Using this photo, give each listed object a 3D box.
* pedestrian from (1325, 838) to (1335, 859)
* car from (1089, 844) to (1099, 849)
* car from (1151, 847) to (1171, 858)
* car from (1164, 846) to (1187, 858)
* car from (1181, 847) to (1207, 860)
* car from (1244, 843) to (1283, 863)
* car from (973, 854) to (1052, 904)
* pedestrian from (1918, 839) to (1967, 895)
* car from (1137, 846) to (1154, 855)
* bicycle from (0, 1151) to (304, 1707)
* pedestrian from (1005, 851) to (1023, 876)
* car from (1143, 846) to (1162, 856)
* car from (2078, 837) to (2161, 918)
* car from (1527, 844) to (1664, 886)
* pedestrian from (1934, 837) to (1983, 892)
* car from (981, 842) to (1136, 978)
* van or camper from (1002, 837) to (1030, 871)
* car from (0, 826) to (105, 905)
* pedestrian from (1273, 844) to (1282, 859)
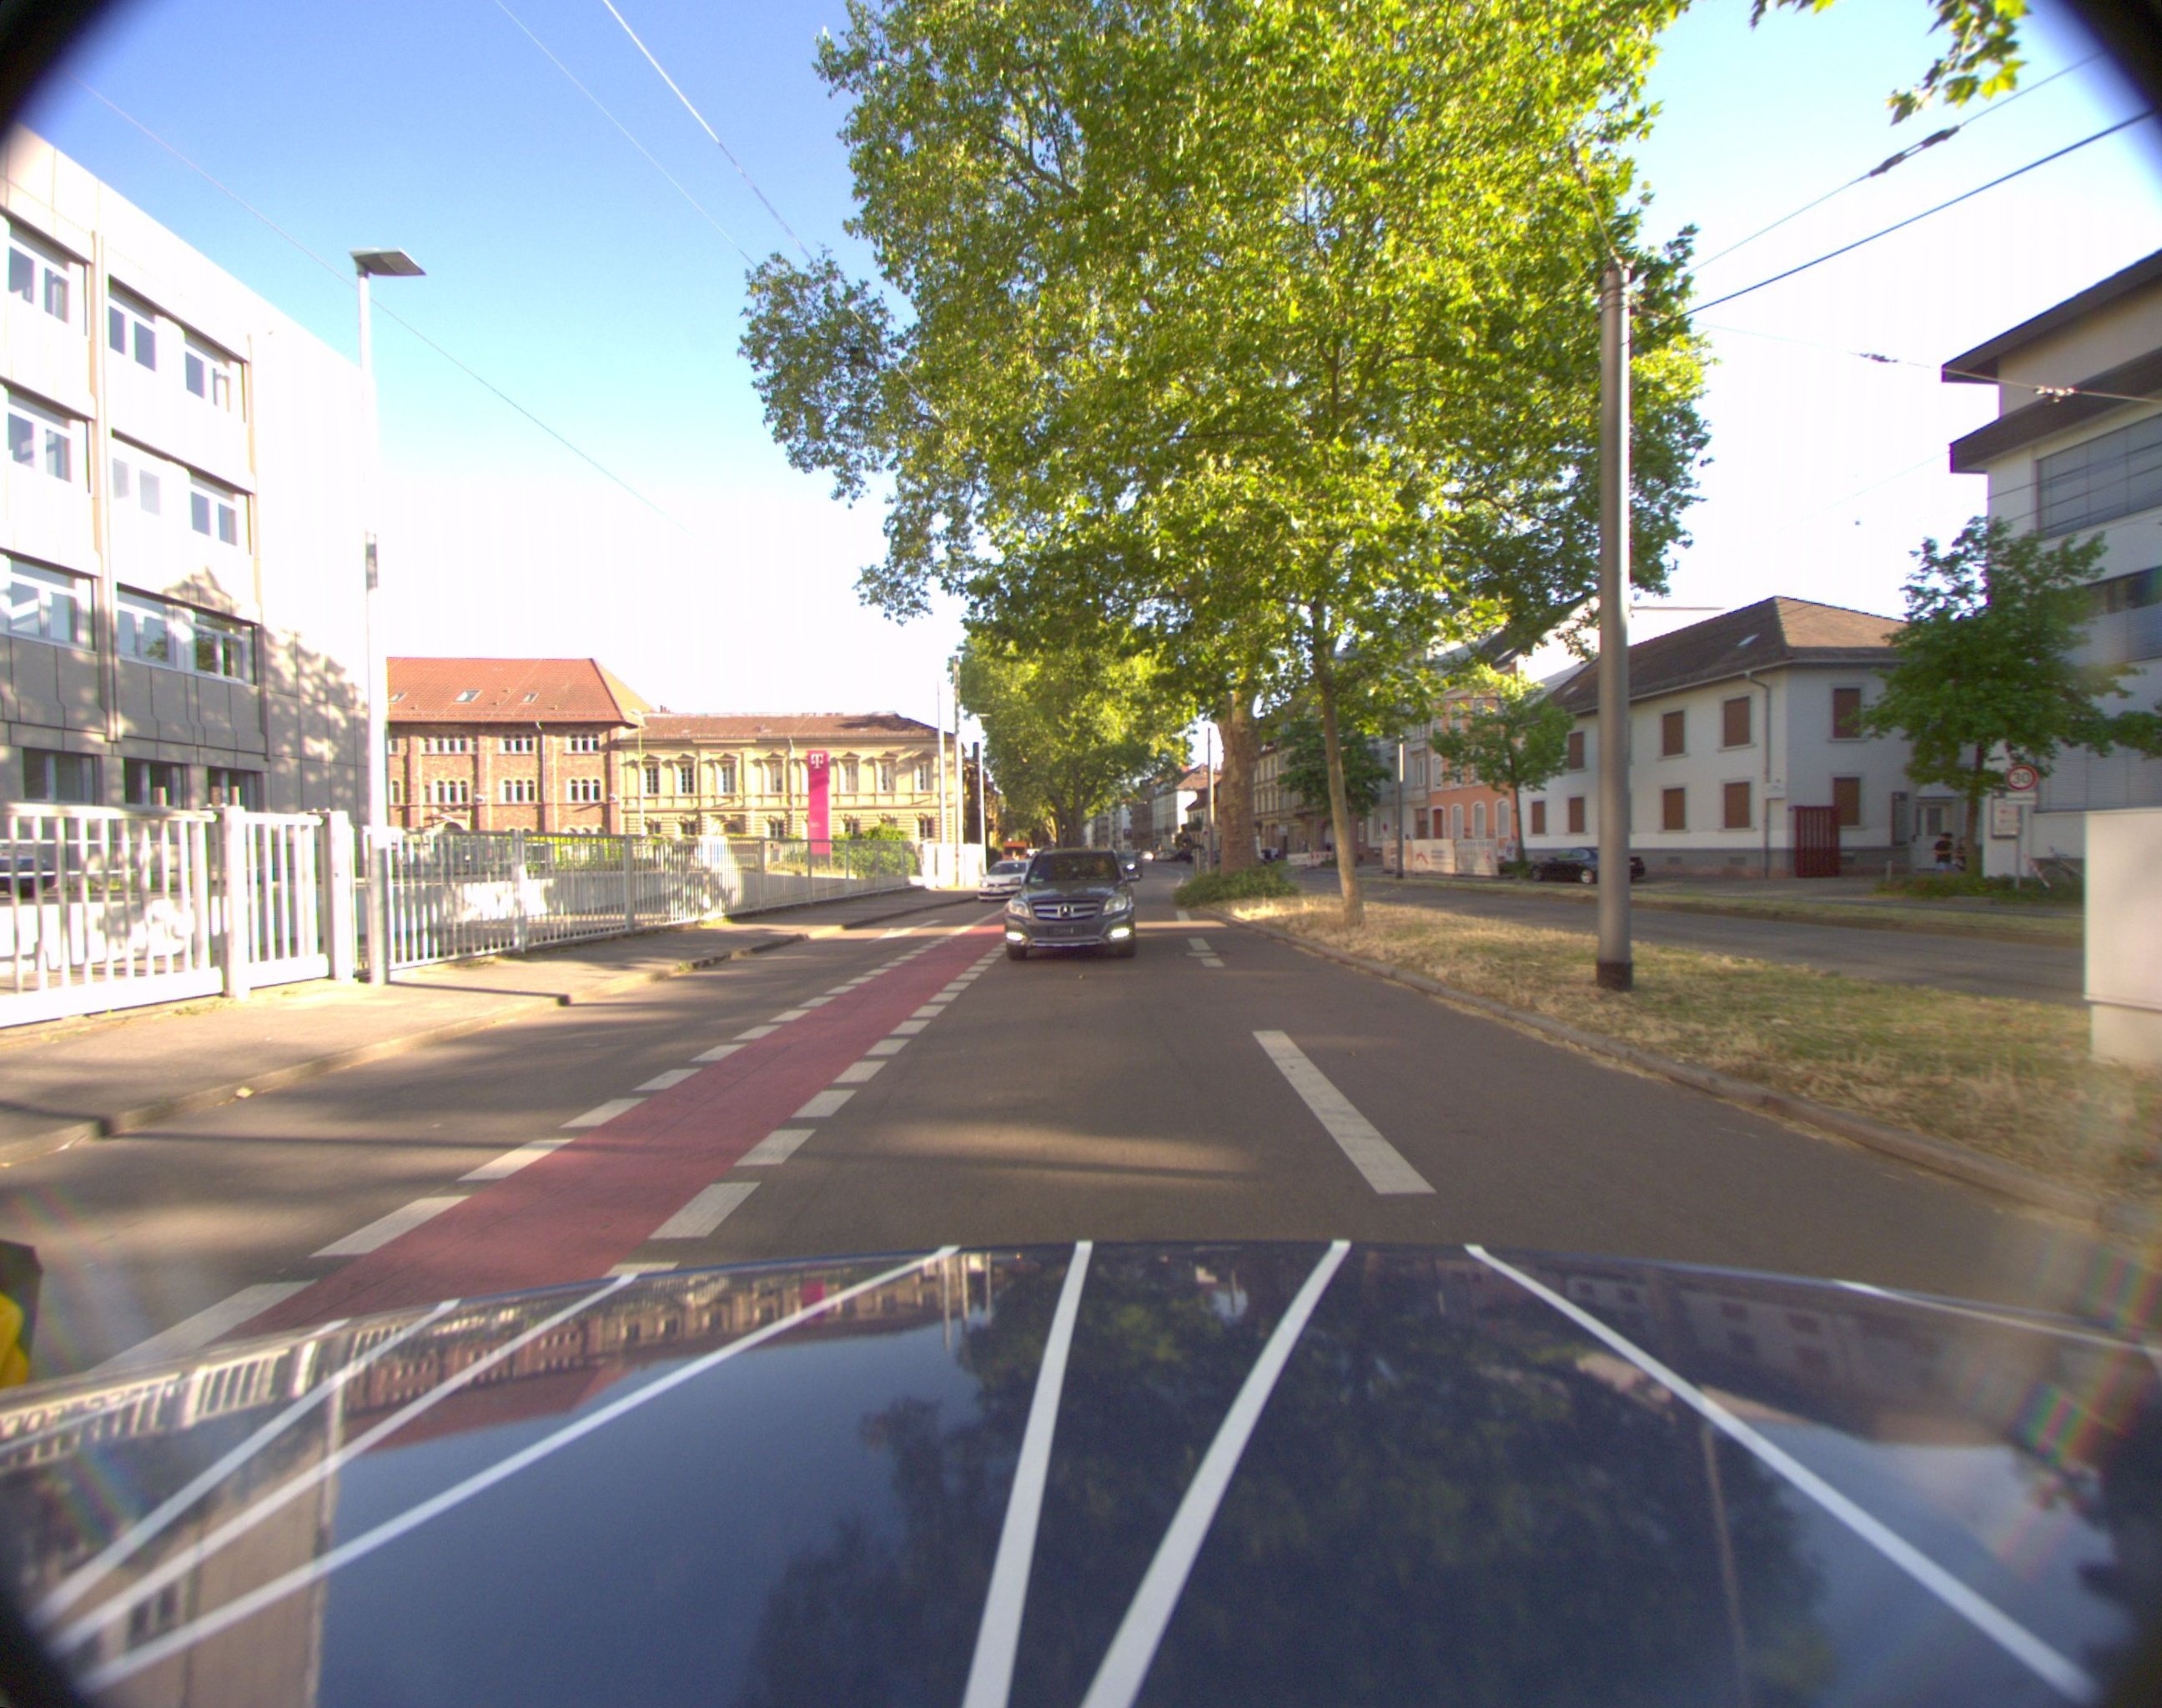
[{"bbox_3d":[21.352,-0.494,65.270,0.562,1.798,0.704,-1,1,-8],"label":"pedestrian"},{"bbox_3d":[3.743,-2.146,220.530,2.088,1.531,4.124,-4,1,-7],"label":"car"},{"bbox_3d":[12.264,-0.227,116.723,2.088,1.531,4.036,-4,1,-7],"label":"car"},{"bbox_3d":[13.356,-0.243,107.834,2.088,1.531,5.101,-4,1,-7],"label":"car"},{"bbox_3d":[14.052,-0.097,94.753,2.088,1.531,4.513,-4,1,-7],"label":"car"},{"bbox_3d":[17.280,-0.124,72.116,2.088,1.664,4.529,-4,1,-7],"label":"car"},{"bbox_3d":[-2.420,0.857,28.022,1.792,1.494,4.303,-3,1,9],"label":"car"},{"bbox_3d":[23.811,0.360,21.013,0.537,1.519,0.711,-1,1,-11],"label":"pedestrian"},{"bbox_3d":[11.213,-0.627,132.552,2.088,1.531,4.253,-4,1,-7],"label":"car"},{"bbox_3d":[-2.018,1.190,0.410,0.764,1.138,2.306,-1,1,1],"label":"bicycle"},{"bbox_3d":[-4.076,0.579,46.475,0.898,1.464,0.811,-1,1,10],"label":"pedestrian"},{"bbox_3d":[11.489,-0.482,122.642,2.088,1.531,4.095,-4,1,-7],"label":"car"},{"bbox_3d":[22.384,0.459,14.213,2.088,1.481,3.994,-4,1,-7],"label":"car"},{"bbox_3d":[20.712,0.397,30.855,2.088,1.462,4.576,-4,1,-7],"label":"car"},{"bbox_3d":[24.729,0.298,21.418,0.537,1.519,0.711,-1,1,-5],"label":"pedestrian"},{"bbox_3d":[-0.136,0.704,12.112,1.908,1.635,4.517,-3,1,4],"label":"car"},{"bbox_3d":[-5.103,-0.044,60.643,1.999,2.578,5.623,-2,1,-4],"label":"van or camper"},{"bbox_3d":[-24.056,0.261,15.797,4.576,1.572,1.999,-1,1,-5],"label":"car"},{"bbox_3d":[20.118,-0.247,77.775,0.641,1.519,0.615,-1,1,-9],"label":"pedestrian"}]
